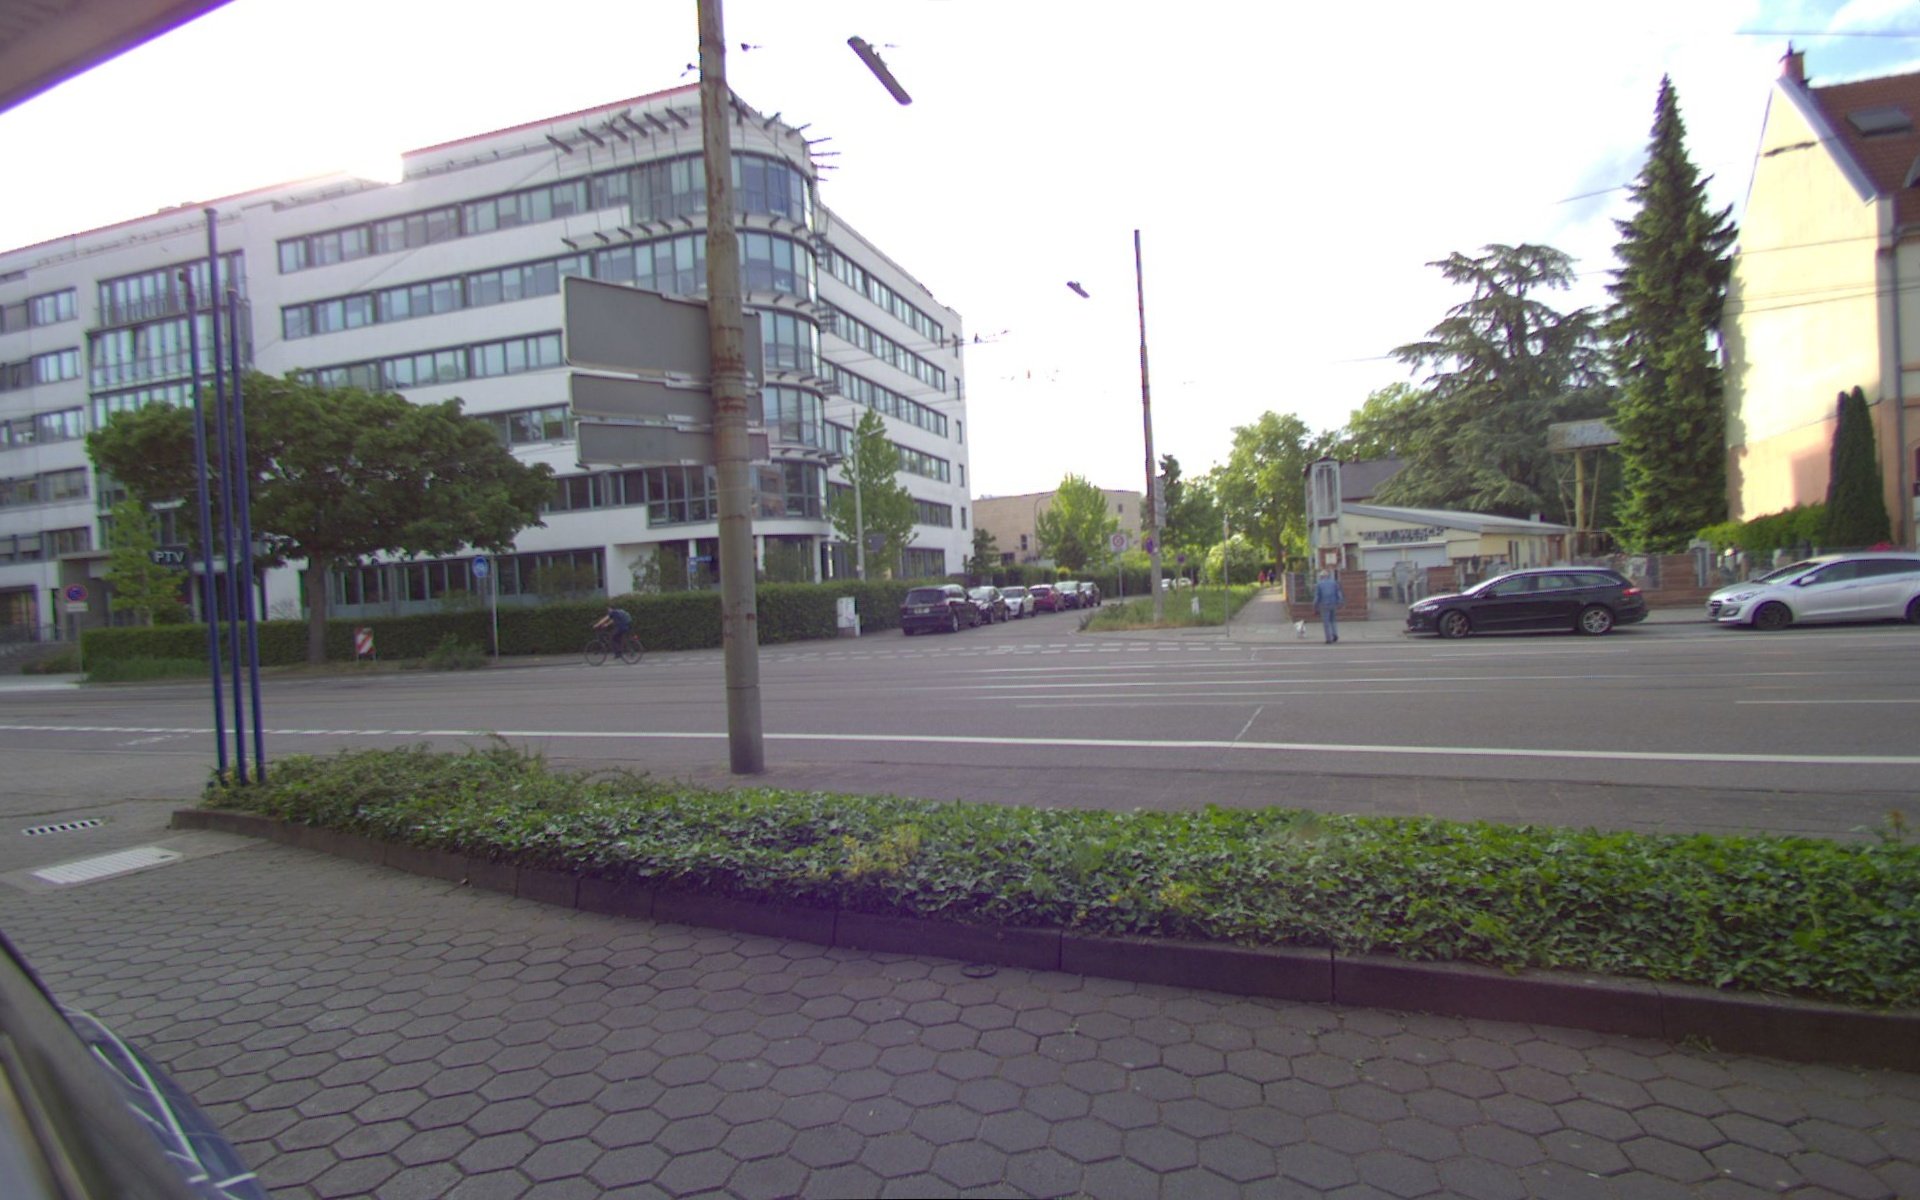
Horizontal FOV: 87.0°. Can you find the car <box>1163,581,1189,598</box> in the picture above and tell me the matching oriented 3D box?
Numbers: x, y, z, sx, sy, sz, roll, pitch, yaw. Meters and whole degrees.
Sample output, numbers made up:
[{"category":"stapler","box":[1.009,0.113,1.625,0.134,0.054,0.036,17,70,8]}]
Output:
[{"category":"car","box":[22.843,-1.139,106.853,1.813,1.654,4.040,-4,0,25]}]

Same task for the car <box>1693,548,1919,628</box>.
[{"category":"car","box":[18.410,-0.259,21.396,4.349,1.493,1.732,-3,1,22]}]

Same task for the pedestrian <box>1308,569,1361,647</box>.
[{"category":"pedestrian","box":[8.617,0.163,23.345,0.899,1.712,0.923,-3,2,9]}]

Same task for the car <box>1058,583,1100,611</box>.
[{"category":"car","box":[7.391,-0.204,62.570,1.807,1.585,4.052,-4,0,16]}]

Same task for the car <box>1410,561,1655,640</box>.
[{"category":"car","box":[13.017,0.015,23.367,4.632,1.533,1.842,-3,2,22]}]

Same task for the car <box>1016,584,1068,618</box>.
[{"category":"car","box":[4.305,0.030,52.407,1.807,1.589,4.175,-4,0,16]}]

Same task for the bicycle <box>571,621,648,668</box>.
[{"category":"bicycle","box":[-9.723,1.230,28.097,1.863,1.248,0.788,-1,0,12]}]

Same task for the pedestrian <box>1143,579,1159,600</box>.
[{"category":"pedestrian","box":[17.735,-0.985,93.949,0.974,1.896,1.046,-1,0,45]}]

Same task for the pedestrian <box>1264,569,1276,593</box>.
[{"category":"pedestrian","box":[25.709,-1.575,83.914,0.965,1.896,1.056,-1,0,17]}]

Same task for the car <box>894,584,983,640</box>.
[{"category":"car","box":[-0.683,0.363,35.566,1.807,1.701,4.370,-4,1,16]}]

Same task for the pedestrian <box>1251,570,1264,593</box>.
[{"category":"pedestrian","box":[24.735,-1.563,84.204,0.965,1.896,1.056,-1,0,17]}]

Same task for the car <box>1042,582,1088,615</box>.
[{"category":"car","box":[6.037,-0.128,57.805,1.807,1.704,4.392,-4,0,16]}]

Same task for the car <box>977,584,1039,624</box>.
[{"category":"car","box":[2.229,0.158,45.686,1.807,1.589,4.175,-4,0,16]}]

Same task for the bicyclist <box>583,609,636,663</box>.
[{"category":"bicyclist","box":[-9.717,0.988,28.076,1.164,1.462,0.788,-1,0,12]}]

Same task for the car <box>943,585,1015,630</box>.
[{"category":"car","box":[0.835,0.276,40.981,1.807,1.589,4.175,-4,0,16]}]

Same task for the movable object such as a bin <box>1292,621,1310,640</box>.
[{"category":"movable object such as a bin","box":[8.454,0.761,25.093,0.363,0.397,0.660,-3,2,13]}]

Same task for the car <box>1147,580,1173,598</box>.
[{"category":"car","box":[19.966,-1.120,100.906,1.811,1.654,4.044,-4,0,22]}]
